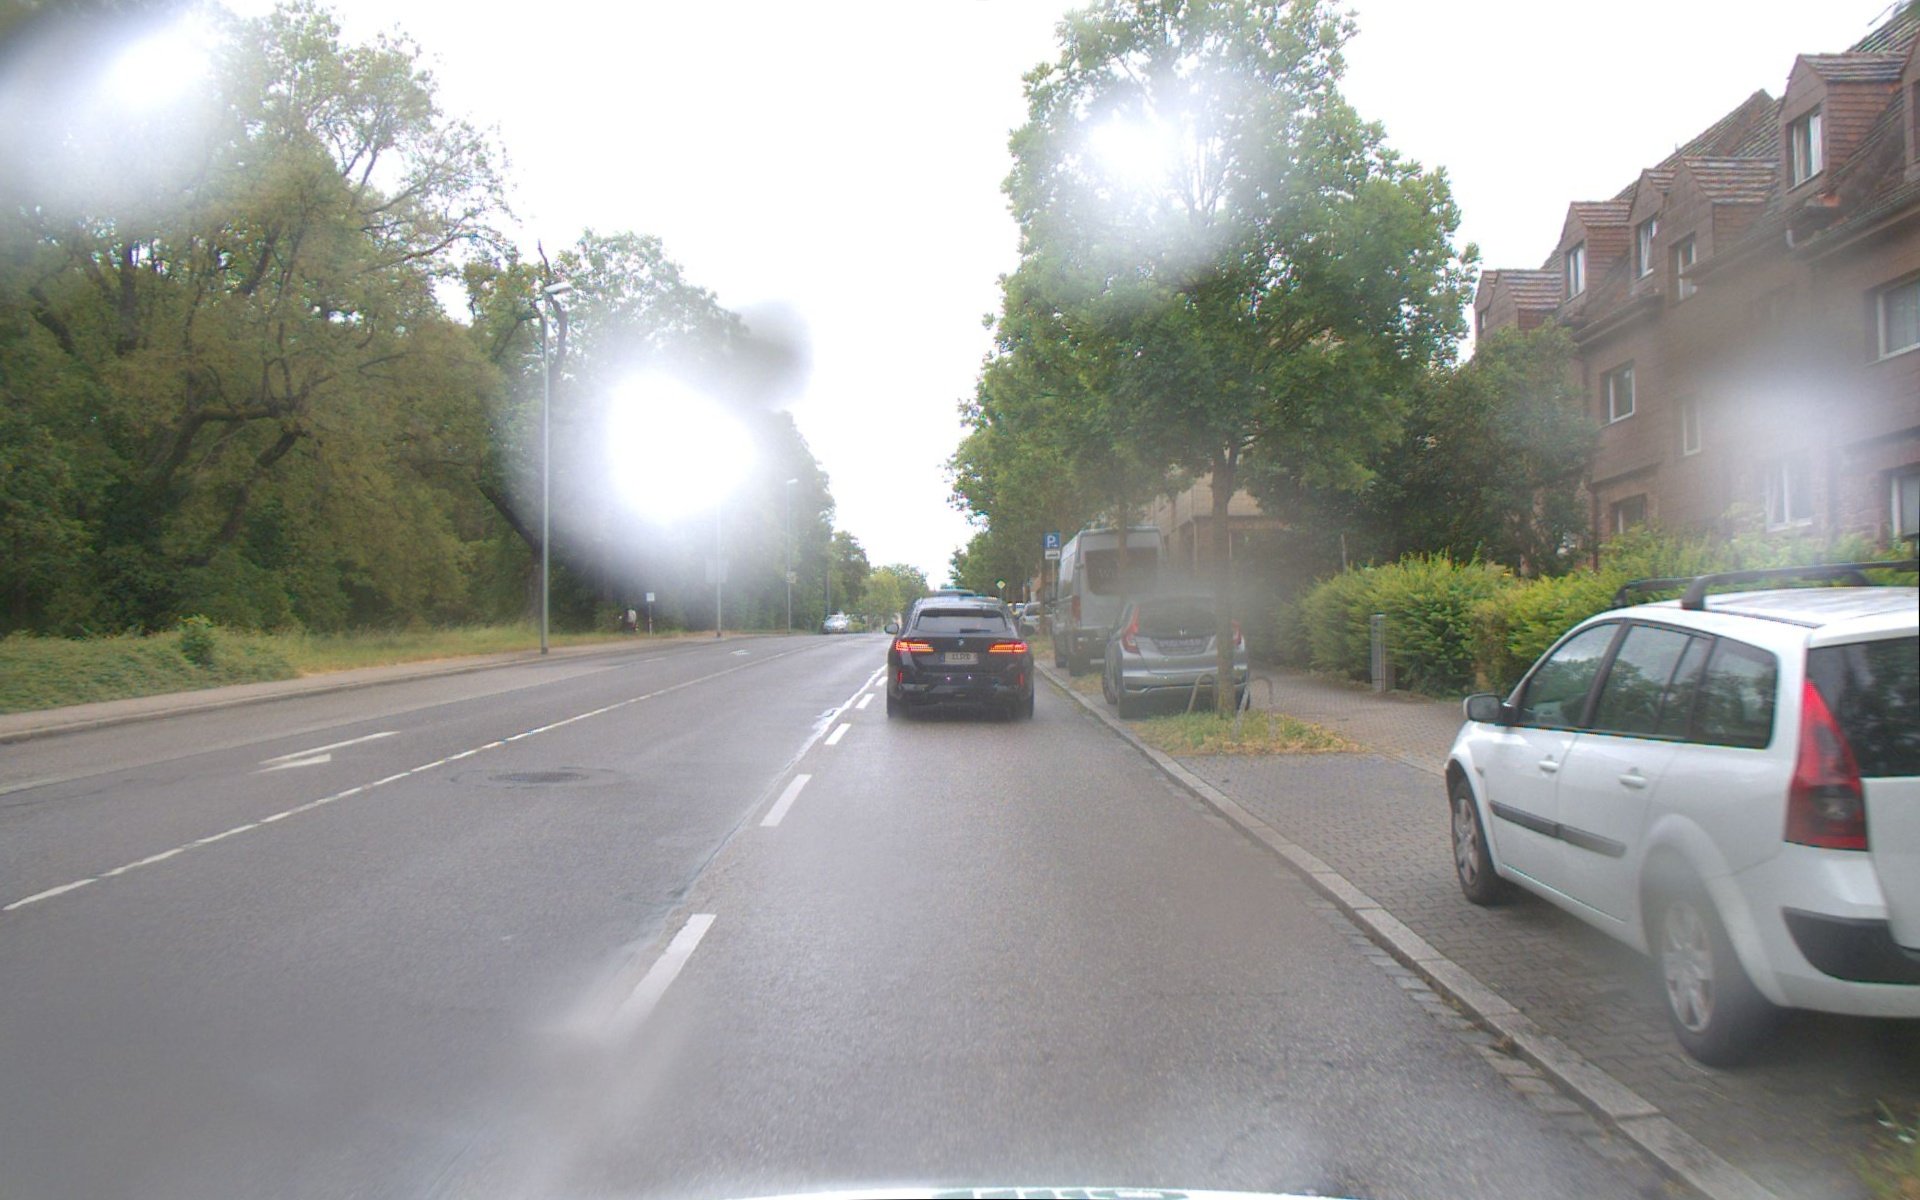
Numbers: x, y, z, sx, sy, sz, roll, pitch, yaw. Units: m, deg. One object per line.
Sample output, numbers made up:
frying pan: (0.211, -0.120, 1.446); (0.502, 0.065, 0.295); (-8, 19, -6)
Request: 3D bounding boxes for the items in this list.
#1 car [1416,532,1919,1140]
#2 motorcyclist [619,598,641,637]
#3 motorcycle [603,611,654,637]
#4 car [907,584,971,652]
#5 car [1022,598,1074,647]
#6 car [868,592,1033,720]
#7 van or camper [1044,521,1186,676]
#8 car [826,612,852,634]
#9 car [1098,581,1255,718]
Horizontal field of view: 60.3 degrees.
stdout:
car: (3.282, 0.590, 6.673); (1.786, 1.630, 4.475); (-2, 0, 3)
motorcyclist: (-14.780, 0.771, 74.145); (0.636, 1.710, 0.813); (1, 0, 20)
motorcycle: (-14.856, 1.068, 74.179); (2.137, 1.137, 0.824); (1, 0, 20)
car: (-0.643, 0.573, 52.360); (1.952, 2.049, 4.000); (0, -1, 0)
car: (3.246, 0.799, 61.506); (1.667, 1.611, 4.643); (-4, 0, 1)
car: (-0.152, 0.700, 22.055); (1.953, 1.478, 3.999); (2, -1, -1)
van or camper: (2.981, -0.050, 33.513); (2.153, 2.697, 7.301); (-2, 0, 0)
car: (-8.855, 1.668, 121.342); (1.656, 1.508, 4.450); (-2, -1, -2)
car: (2.766, 0.593, 21.841); (1.634, 1.555, 3.833); (-3, 0, 2)
